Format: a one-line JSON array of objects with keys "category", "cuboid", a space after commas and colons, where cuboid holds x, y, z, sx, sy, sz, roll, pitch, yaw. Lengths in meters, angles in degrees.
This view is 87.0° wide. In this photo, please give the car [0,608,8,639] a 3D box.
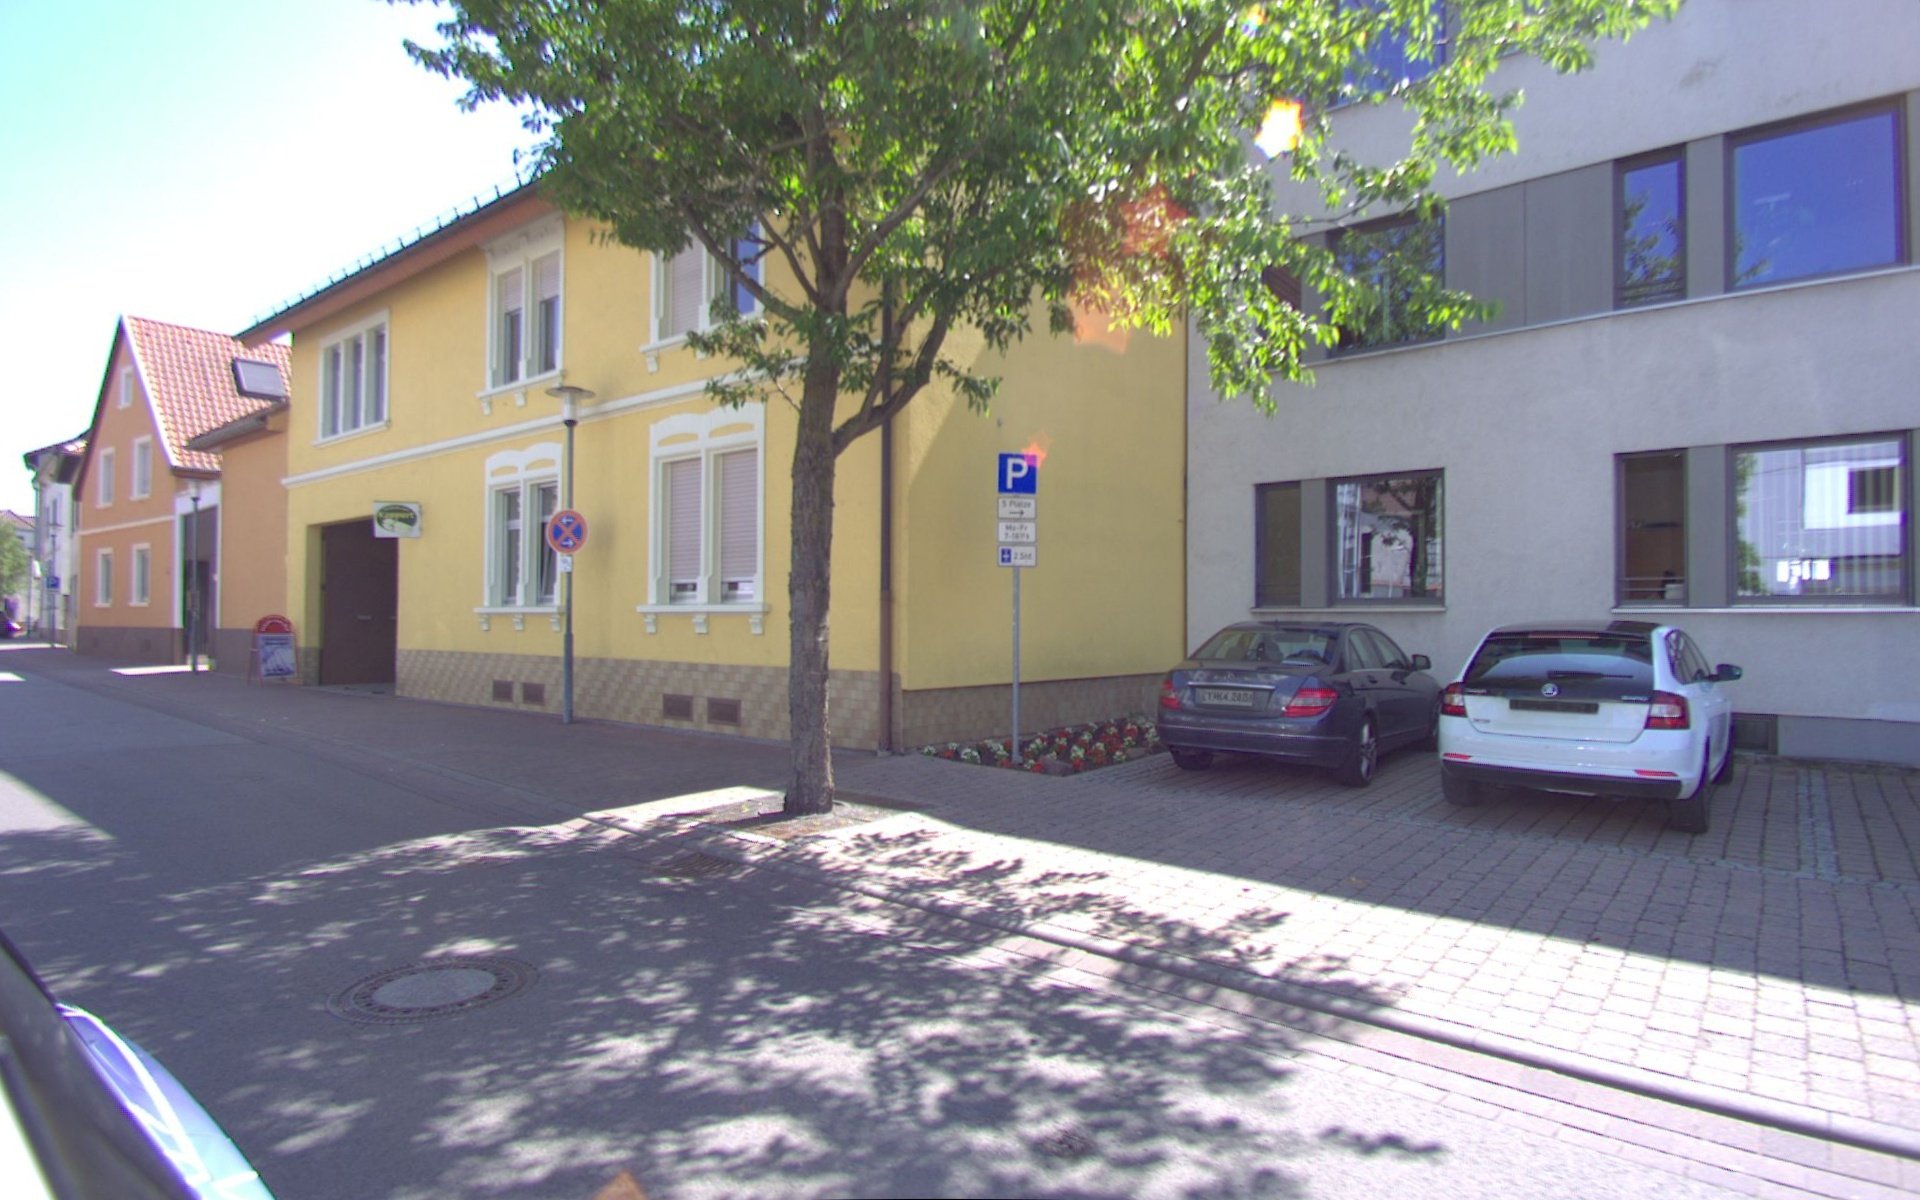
[{"category": "car", "cuboid": [-51.715, 1.225, 53.571, 1.837, 1.642, 4.051, 2, -2, -43]}]

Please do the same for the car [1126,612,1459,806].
[{"category": "car", "cuboid": [3.434, 0.872, 9.943, 1.969, 1.442, 3.951, -1, -1, 36]}]

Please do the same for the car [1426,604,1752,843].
[{"category": "car", "cuboid": [5.327, 0.778, 8.322, 1.805, 1.462, 3.948, -1, -1, 39]}]
